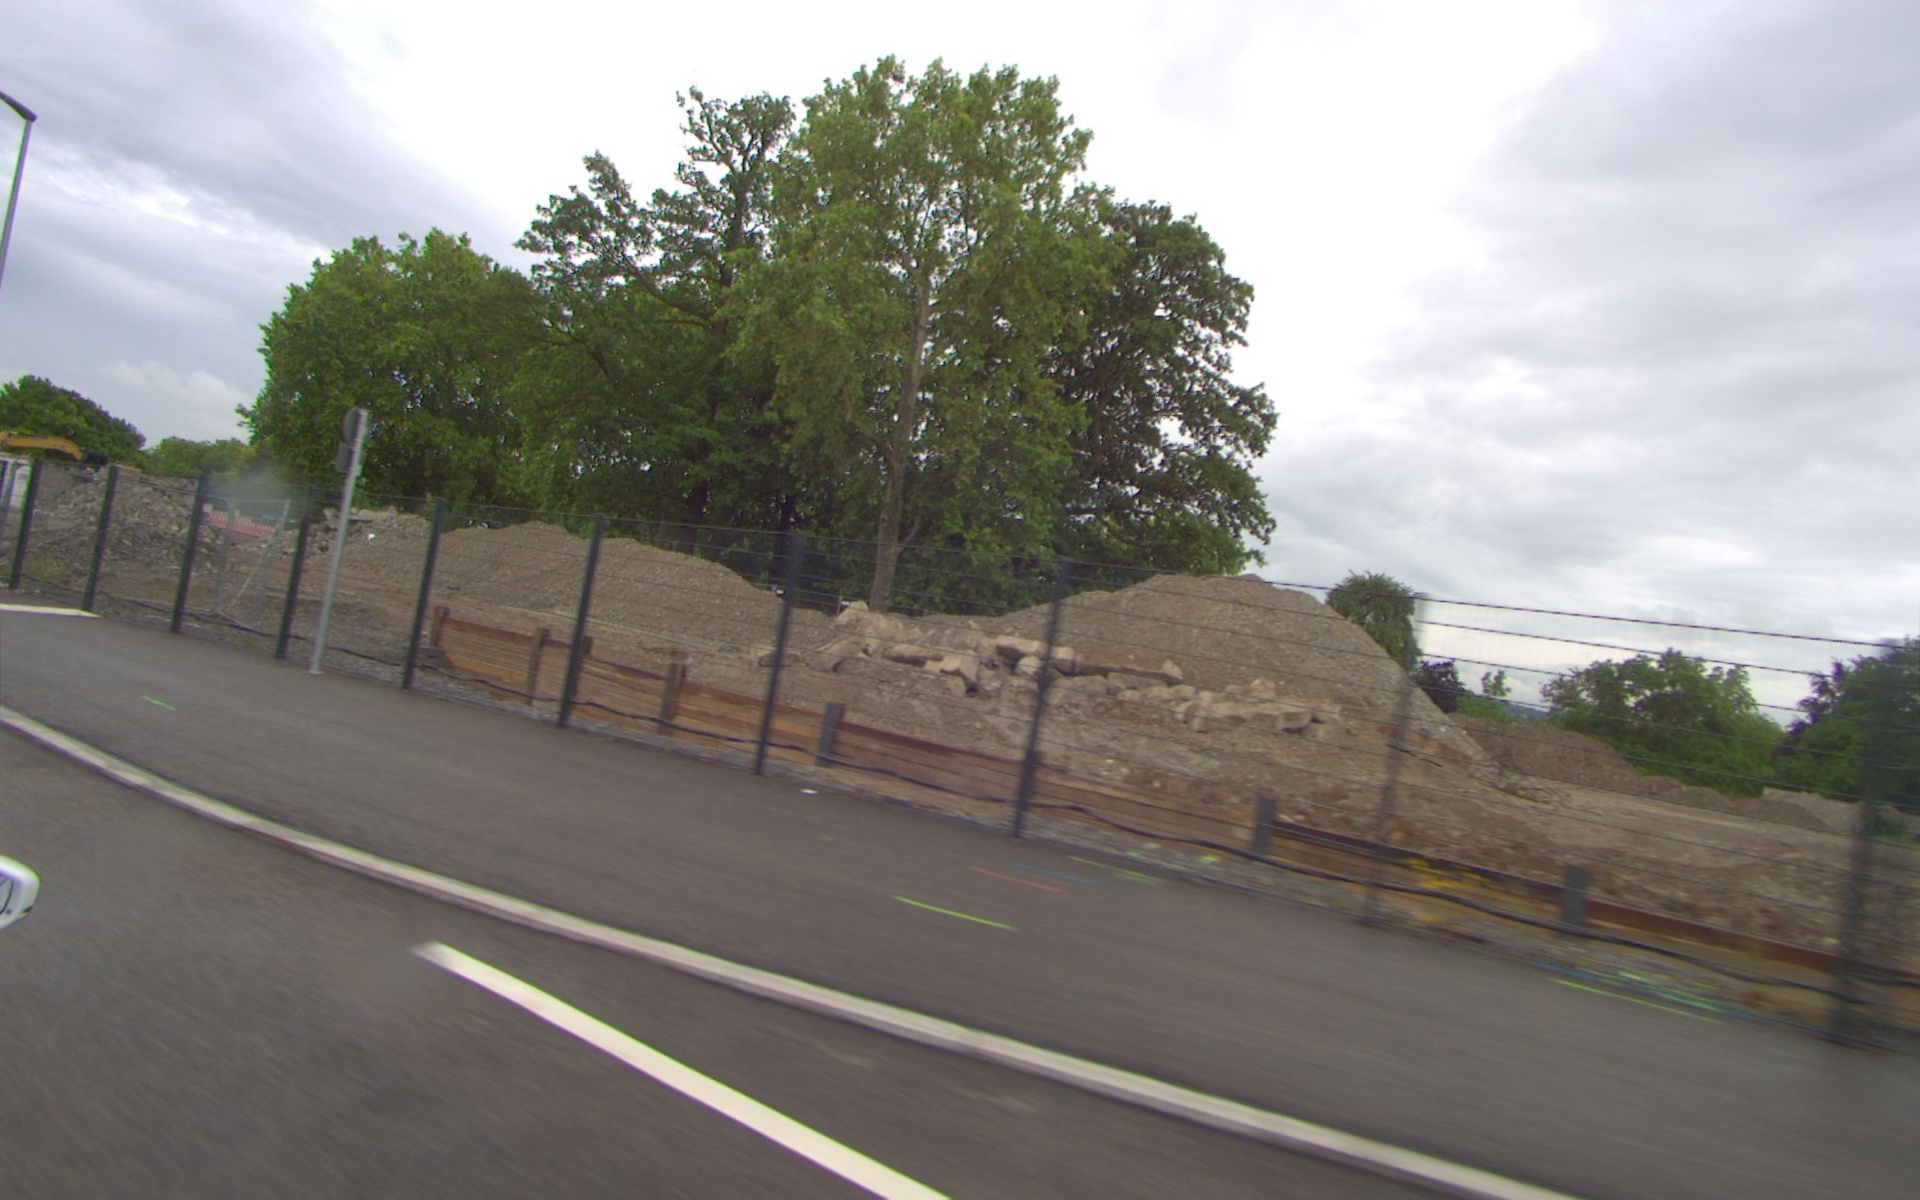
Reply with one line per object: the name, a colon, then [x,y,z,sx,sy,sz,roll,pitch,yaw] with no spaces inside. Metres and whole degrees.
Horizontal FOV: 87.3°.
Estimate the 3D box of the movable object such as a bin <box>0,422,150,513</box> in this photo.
movable object such as a bin: [-83.522,-12.247,94.004,3.437,6.064,11.242,7,-2,36]
